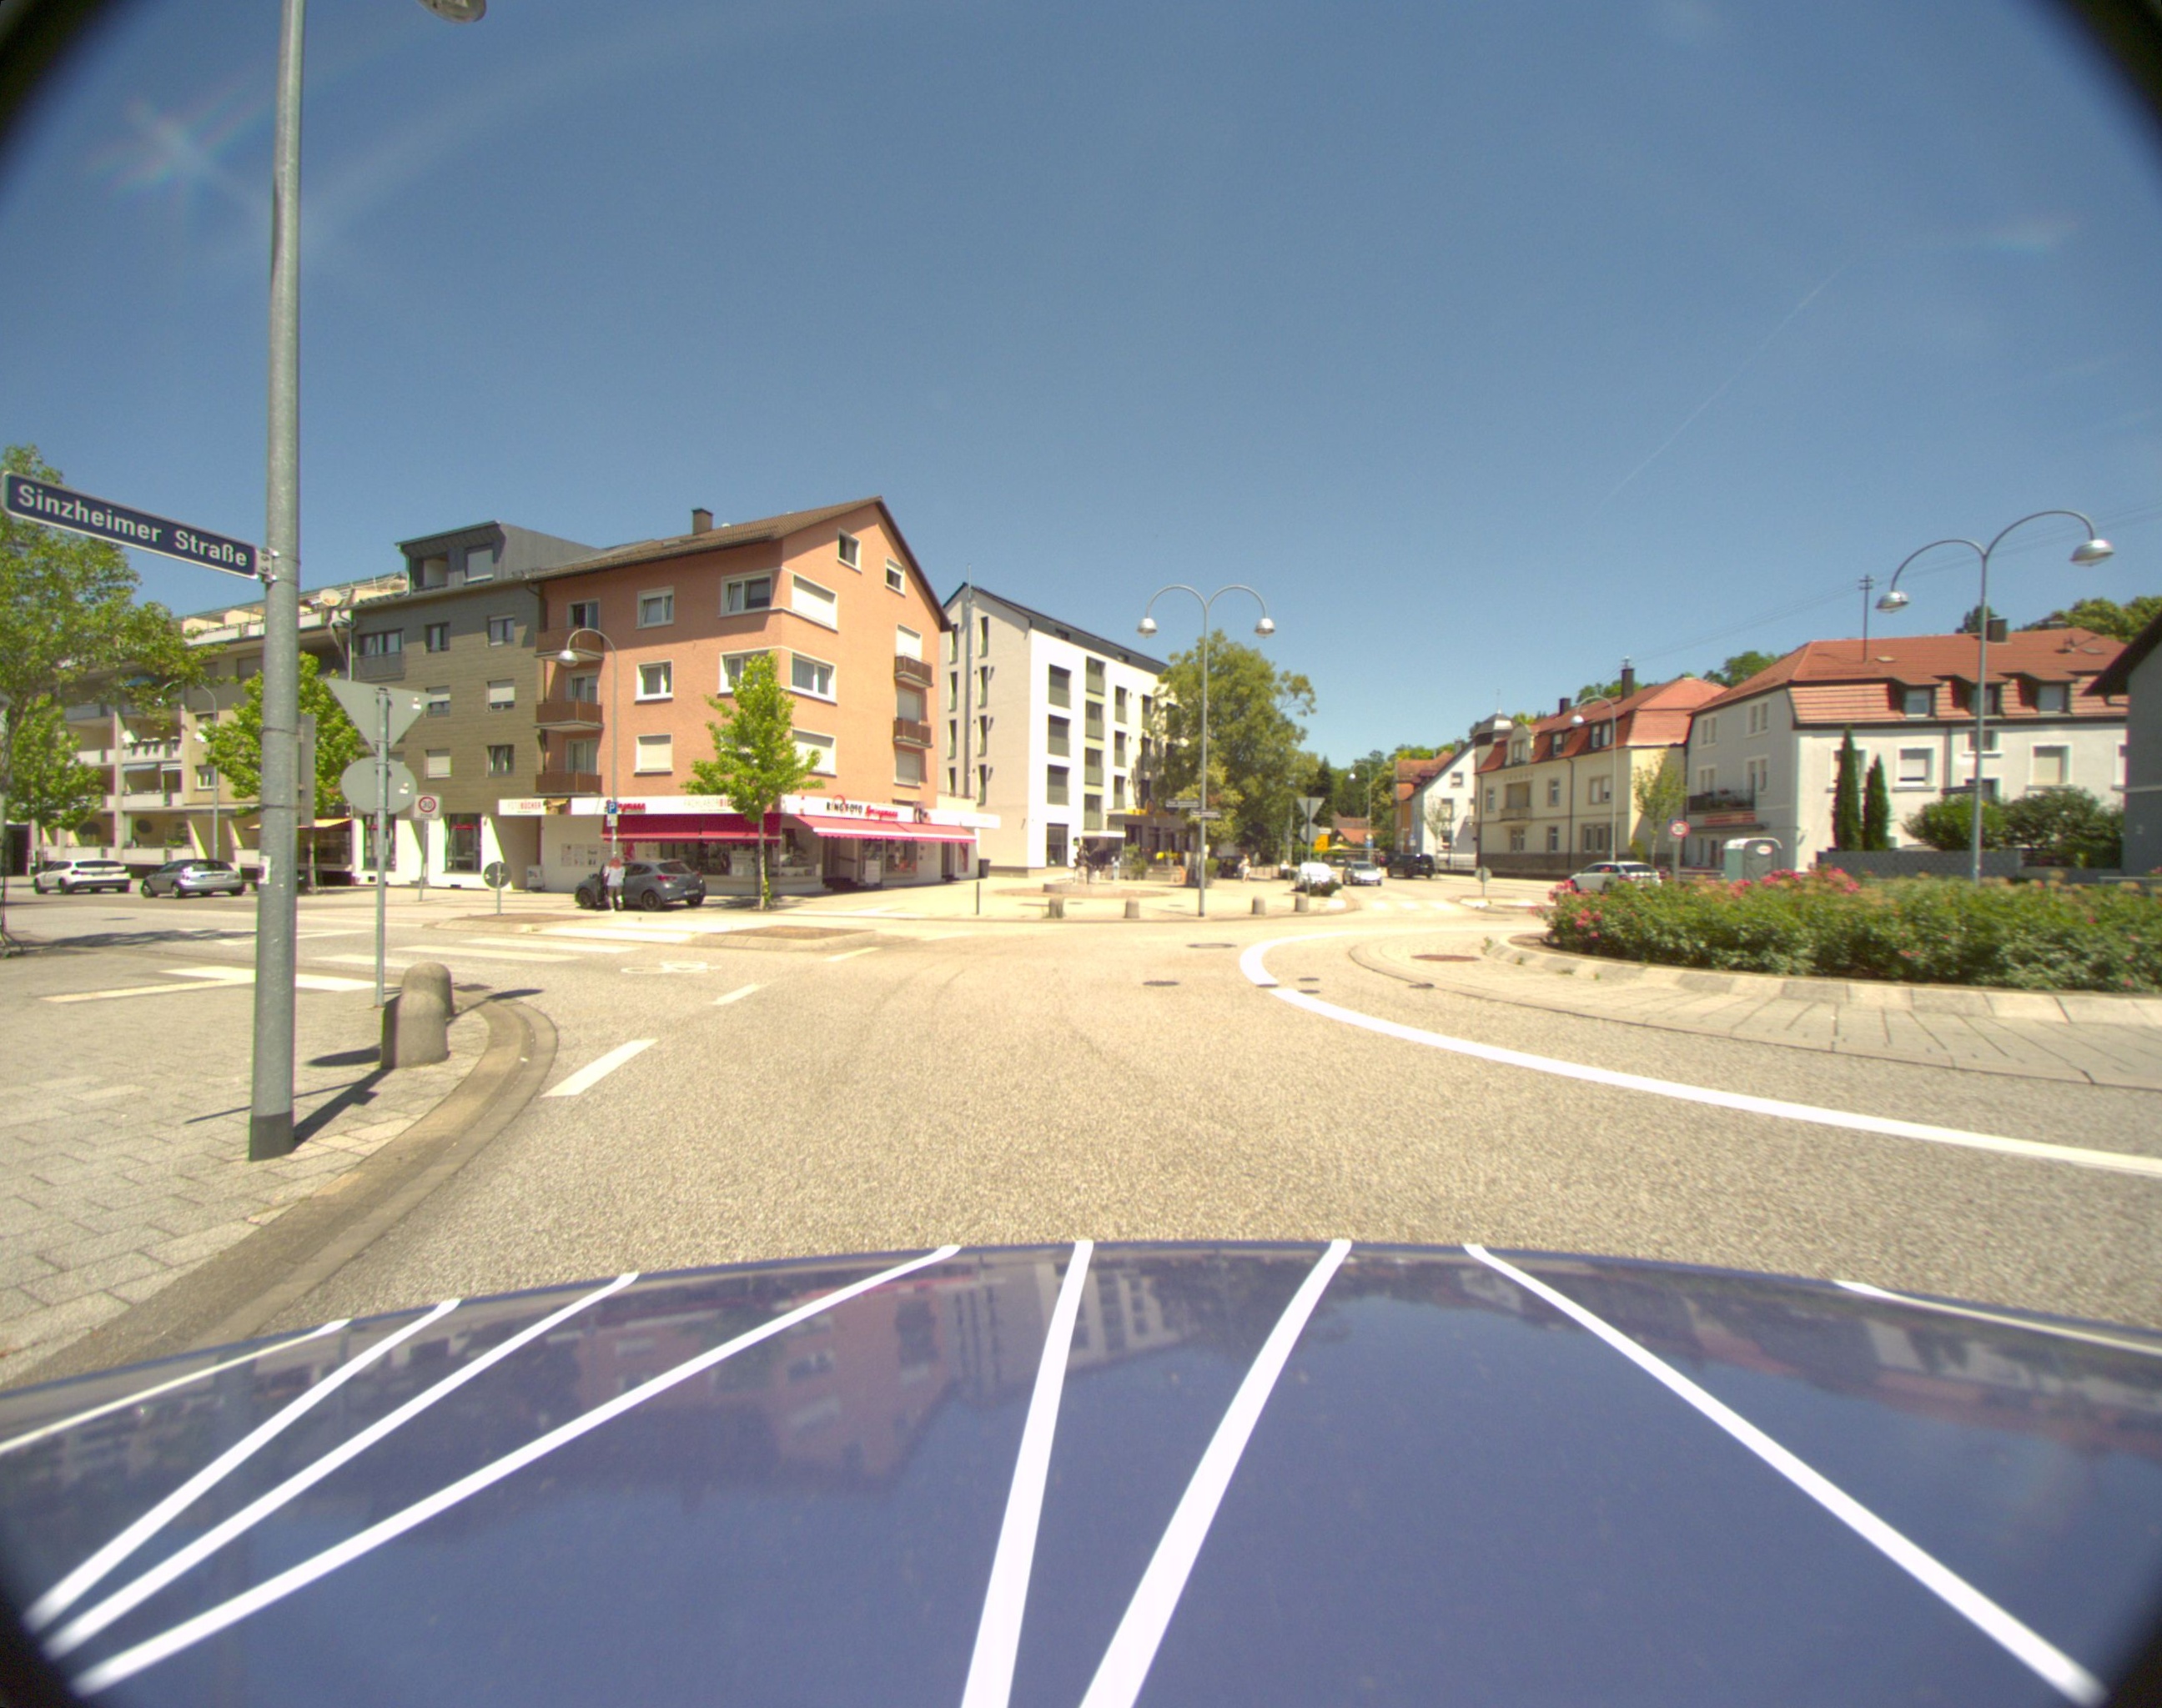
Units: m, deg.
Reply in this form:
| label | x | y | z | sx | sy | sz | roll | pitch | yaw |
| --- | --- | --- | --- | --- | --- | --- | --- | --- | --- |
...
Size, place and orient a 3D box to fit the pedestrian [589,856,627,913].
| label | x | y | z | sx | sy | sz | roll | pitch | yaw |
| --- | --- | --- | --- | --- | --- | --- | --- | --- | --- |
| pedestrian | -13.504 | 0.854 | 21.705 | 0.558 | 1.600 | 0.736 | 0 | 1 | 23 |

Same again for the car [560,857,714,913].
| label | x | y | z | sx | sy | sz | roll | pitch | yaw |
| --- | --- | --- | --- | --- | --- | --- | --- | --- | --- |
| car | -13.304 | 0.887 | 22.793 | 4.052 | 1.478 | 1.674 | 0 | 3 | 18 |

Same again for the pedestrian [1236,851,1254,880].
| label | x | y | z | sx | sy | sz | roll | pitch | yaw |
| --- | --- | --- | --- | --- | --- | --- | --- | --- | --- |
| pedestrian | 9.505 | 0.641 | 43.963 | 0.949 | 1.639 | 0.820 | 0 | 1 | 18 |

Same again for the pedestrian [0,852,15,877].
| label | x | y | z | sx | sy | sz | roll | pitch | yaw |
| --- | --- | --- | --- | --- | --- | --- | --- | --- | --- |
| pedestrian | -63.555 | 0.631 | 44.786 | 0.695 | 1.490 | 0.781 | 0 | 1 | 33 |

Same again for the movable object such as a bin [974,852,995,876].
| label | x | y | z | sx | sy | sz | roll | pitch | yaw |
| --- | --- | --- | --- | --- | --- | --- | --- | --- | --- |
| movable object such as a bin | -5.061 | 0.537 | 39.916 | 0.745 | 1.245 | 0.838 | 0 | 1 | 24 |

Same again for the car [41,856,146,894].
| label | x | y | z | sx | sy | sz | roll | pitch | yaw |
| --- | --- | --- | --- | --- | --- | --- | --- | --- | --- |
| car | -43.289 | 0.873 | 33.305 | 4.289 | 1.583 | 1.703 | 0 | 1 | 22 |

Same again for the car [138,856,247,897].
| label | x | y | z | sx | sy | sz | roll | pitch | yaw |
| --- | --- | --- | --- | --- | --- | --- | --- | --- | --- |
| car | -33.882 | 0.812 | 28.983 | 3.540 | 1.465 | 1.629 | 0 | 1 | 22 |

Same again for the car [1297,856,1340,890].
| label | x | y | z | sx | sy | sz | roll | pitch | yaw |
| --- | --- | --- | --- | --- | --- | --- | --- | --- | --- |
| car | 11.336 | 0.877 | 36.483 | 1.793 | 1.516 | 4.004 | 0 | 0 | 15 |

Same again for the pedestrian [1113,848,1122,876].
| label | x | y | z | sx | sy | sz | roll | pitch | yaw |
| --- | --- | --- | --- | --- | --- | --- | --- | --- | --- |
| pedestrian | 2.104 | 0.457 | 43.715 | 0.449 | 1.609 | 0.451 | 0 | 1 | 19 |

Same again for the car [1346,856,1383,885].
| label | x | y | z | sx | sy | sz | roll | pitch | yaw |
| --- | --- | --- | --- | --- | --- | --- | --- | --- | --- |
| car | 17.547 | 0.970 | 46.944 | 1.995 | 1.646 | 4.210 | 1 | 0 | 22 |

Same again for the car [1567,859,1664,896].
| label | x | y | z | sx | sy | sz | roll | pitch | yaw |
| --- | --- | --- | --- | --- | --- | --- | --- | --- | --- |
| car | 23.057 | 0.985 | 32.967 | 1.607 | 1.384 | 4.080 | -3 | 0 | 5 |

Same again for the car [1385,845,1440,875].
| label | x | y | z | sx | sy | sz | roll | pitch | yaw |
| --- | --- | --- | --- | --- | --- | --- | --- | --- | --- |
| car | 24.239 | 0.378 | 55.686 | 1.999 | 2.003 | 3.997 | 0 | 2 | -4 |
